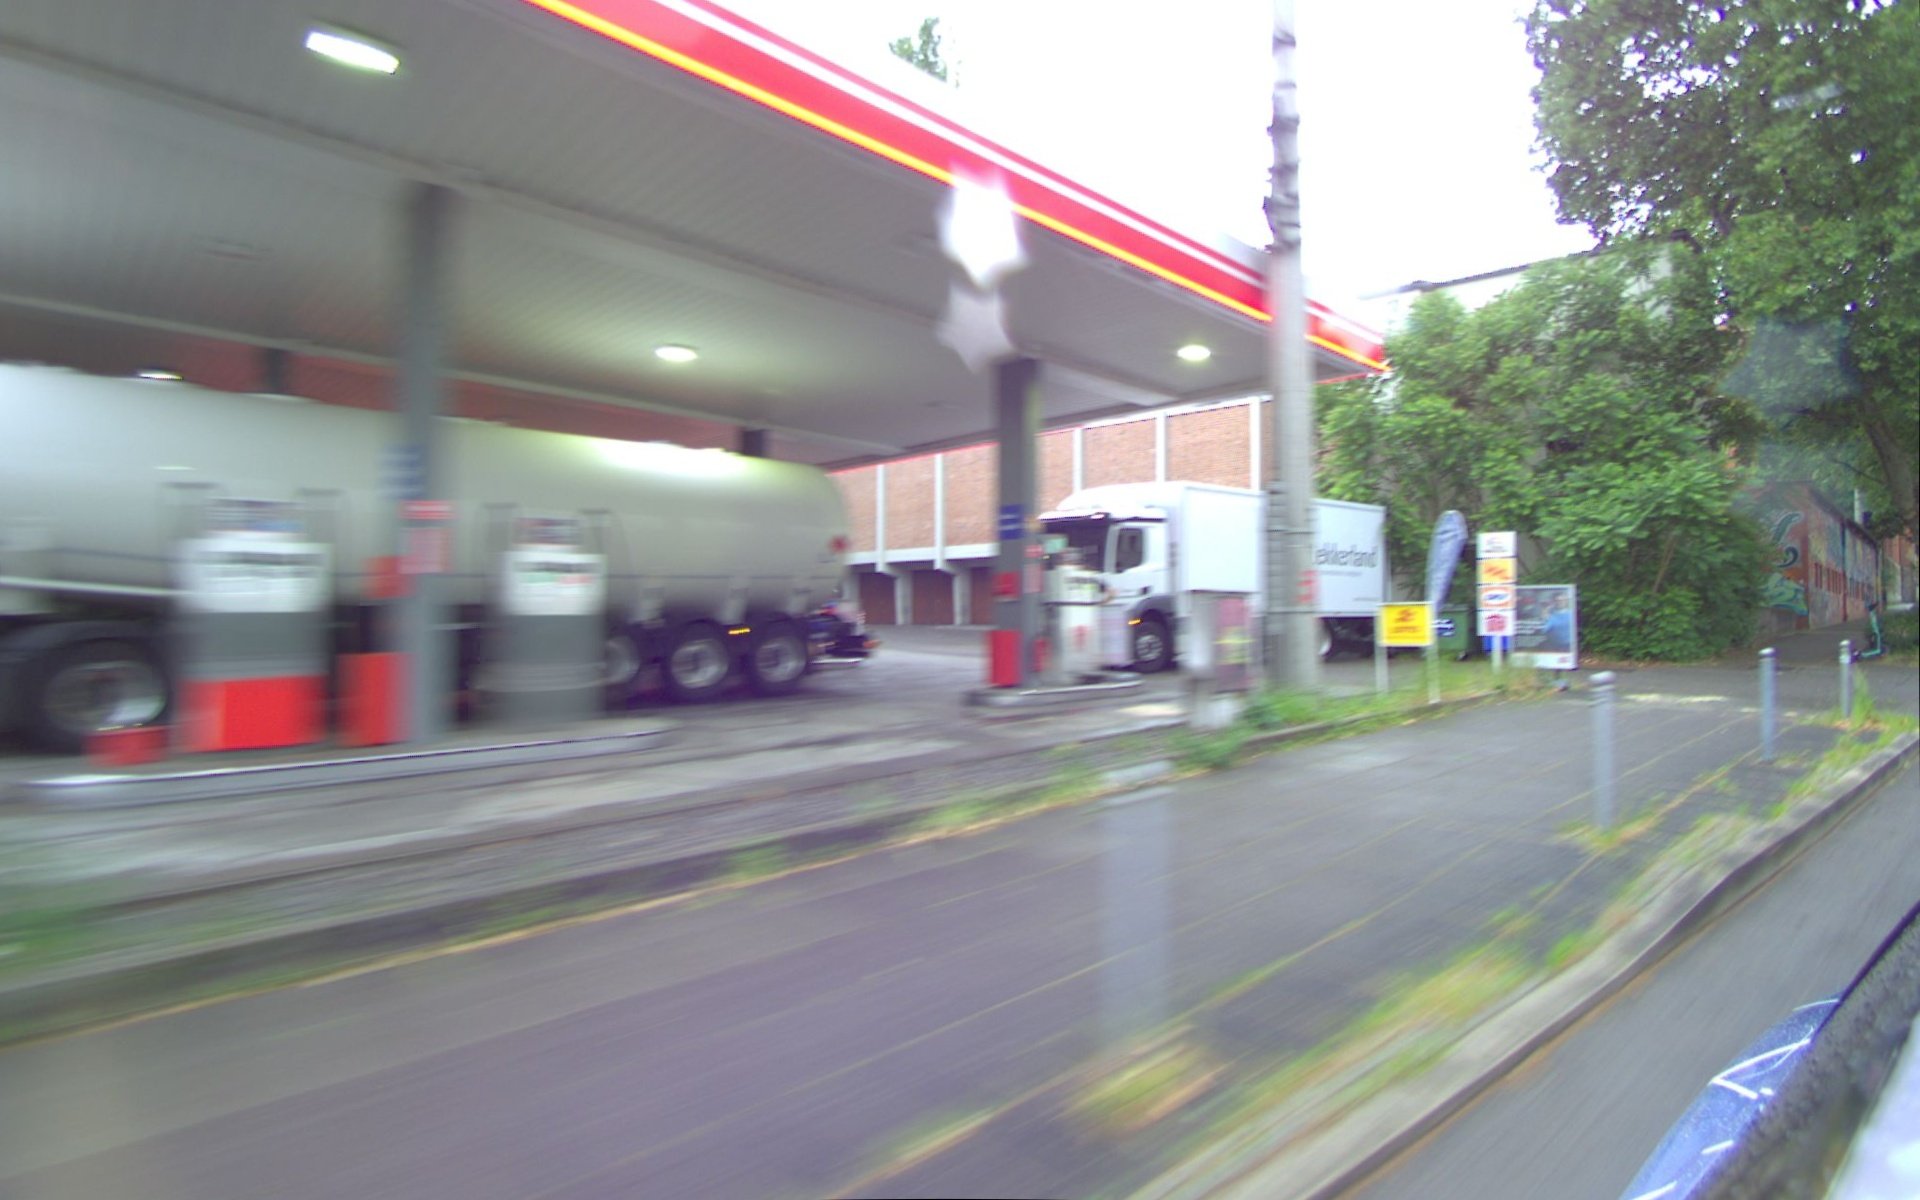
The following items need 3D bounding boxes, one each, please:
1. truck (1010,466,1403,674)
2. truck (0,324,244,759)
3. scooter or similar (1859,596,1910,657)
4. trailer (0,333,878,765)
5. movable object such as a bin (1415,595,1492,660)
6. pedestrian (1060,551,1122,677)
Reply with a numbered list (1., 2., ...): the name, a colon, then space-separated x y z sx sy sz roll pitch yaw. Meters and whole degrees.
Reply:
1. truck: 5.721 -0.606 21.780 10.070 3.614 2.660 -1 1 -39
2. truck: -9.523 -0.490 7.726 2.820 3.442 6.047 1 1 35
3. scooter or similar: 19.776 0.554 21.633 1.336 1.207 0.401 -3 2 -29
4. trailer: -5.506 -0.491 12.430 2.803 3.438 9.685 0 1 43
5. movable object such as a bin: 11.347 0.613 23.284 1.054 1.418 1.285 0 1 -40
6. pedestrian: 2.222 0.226 17.200 0.640 2.066 0.809 0 0 -42
